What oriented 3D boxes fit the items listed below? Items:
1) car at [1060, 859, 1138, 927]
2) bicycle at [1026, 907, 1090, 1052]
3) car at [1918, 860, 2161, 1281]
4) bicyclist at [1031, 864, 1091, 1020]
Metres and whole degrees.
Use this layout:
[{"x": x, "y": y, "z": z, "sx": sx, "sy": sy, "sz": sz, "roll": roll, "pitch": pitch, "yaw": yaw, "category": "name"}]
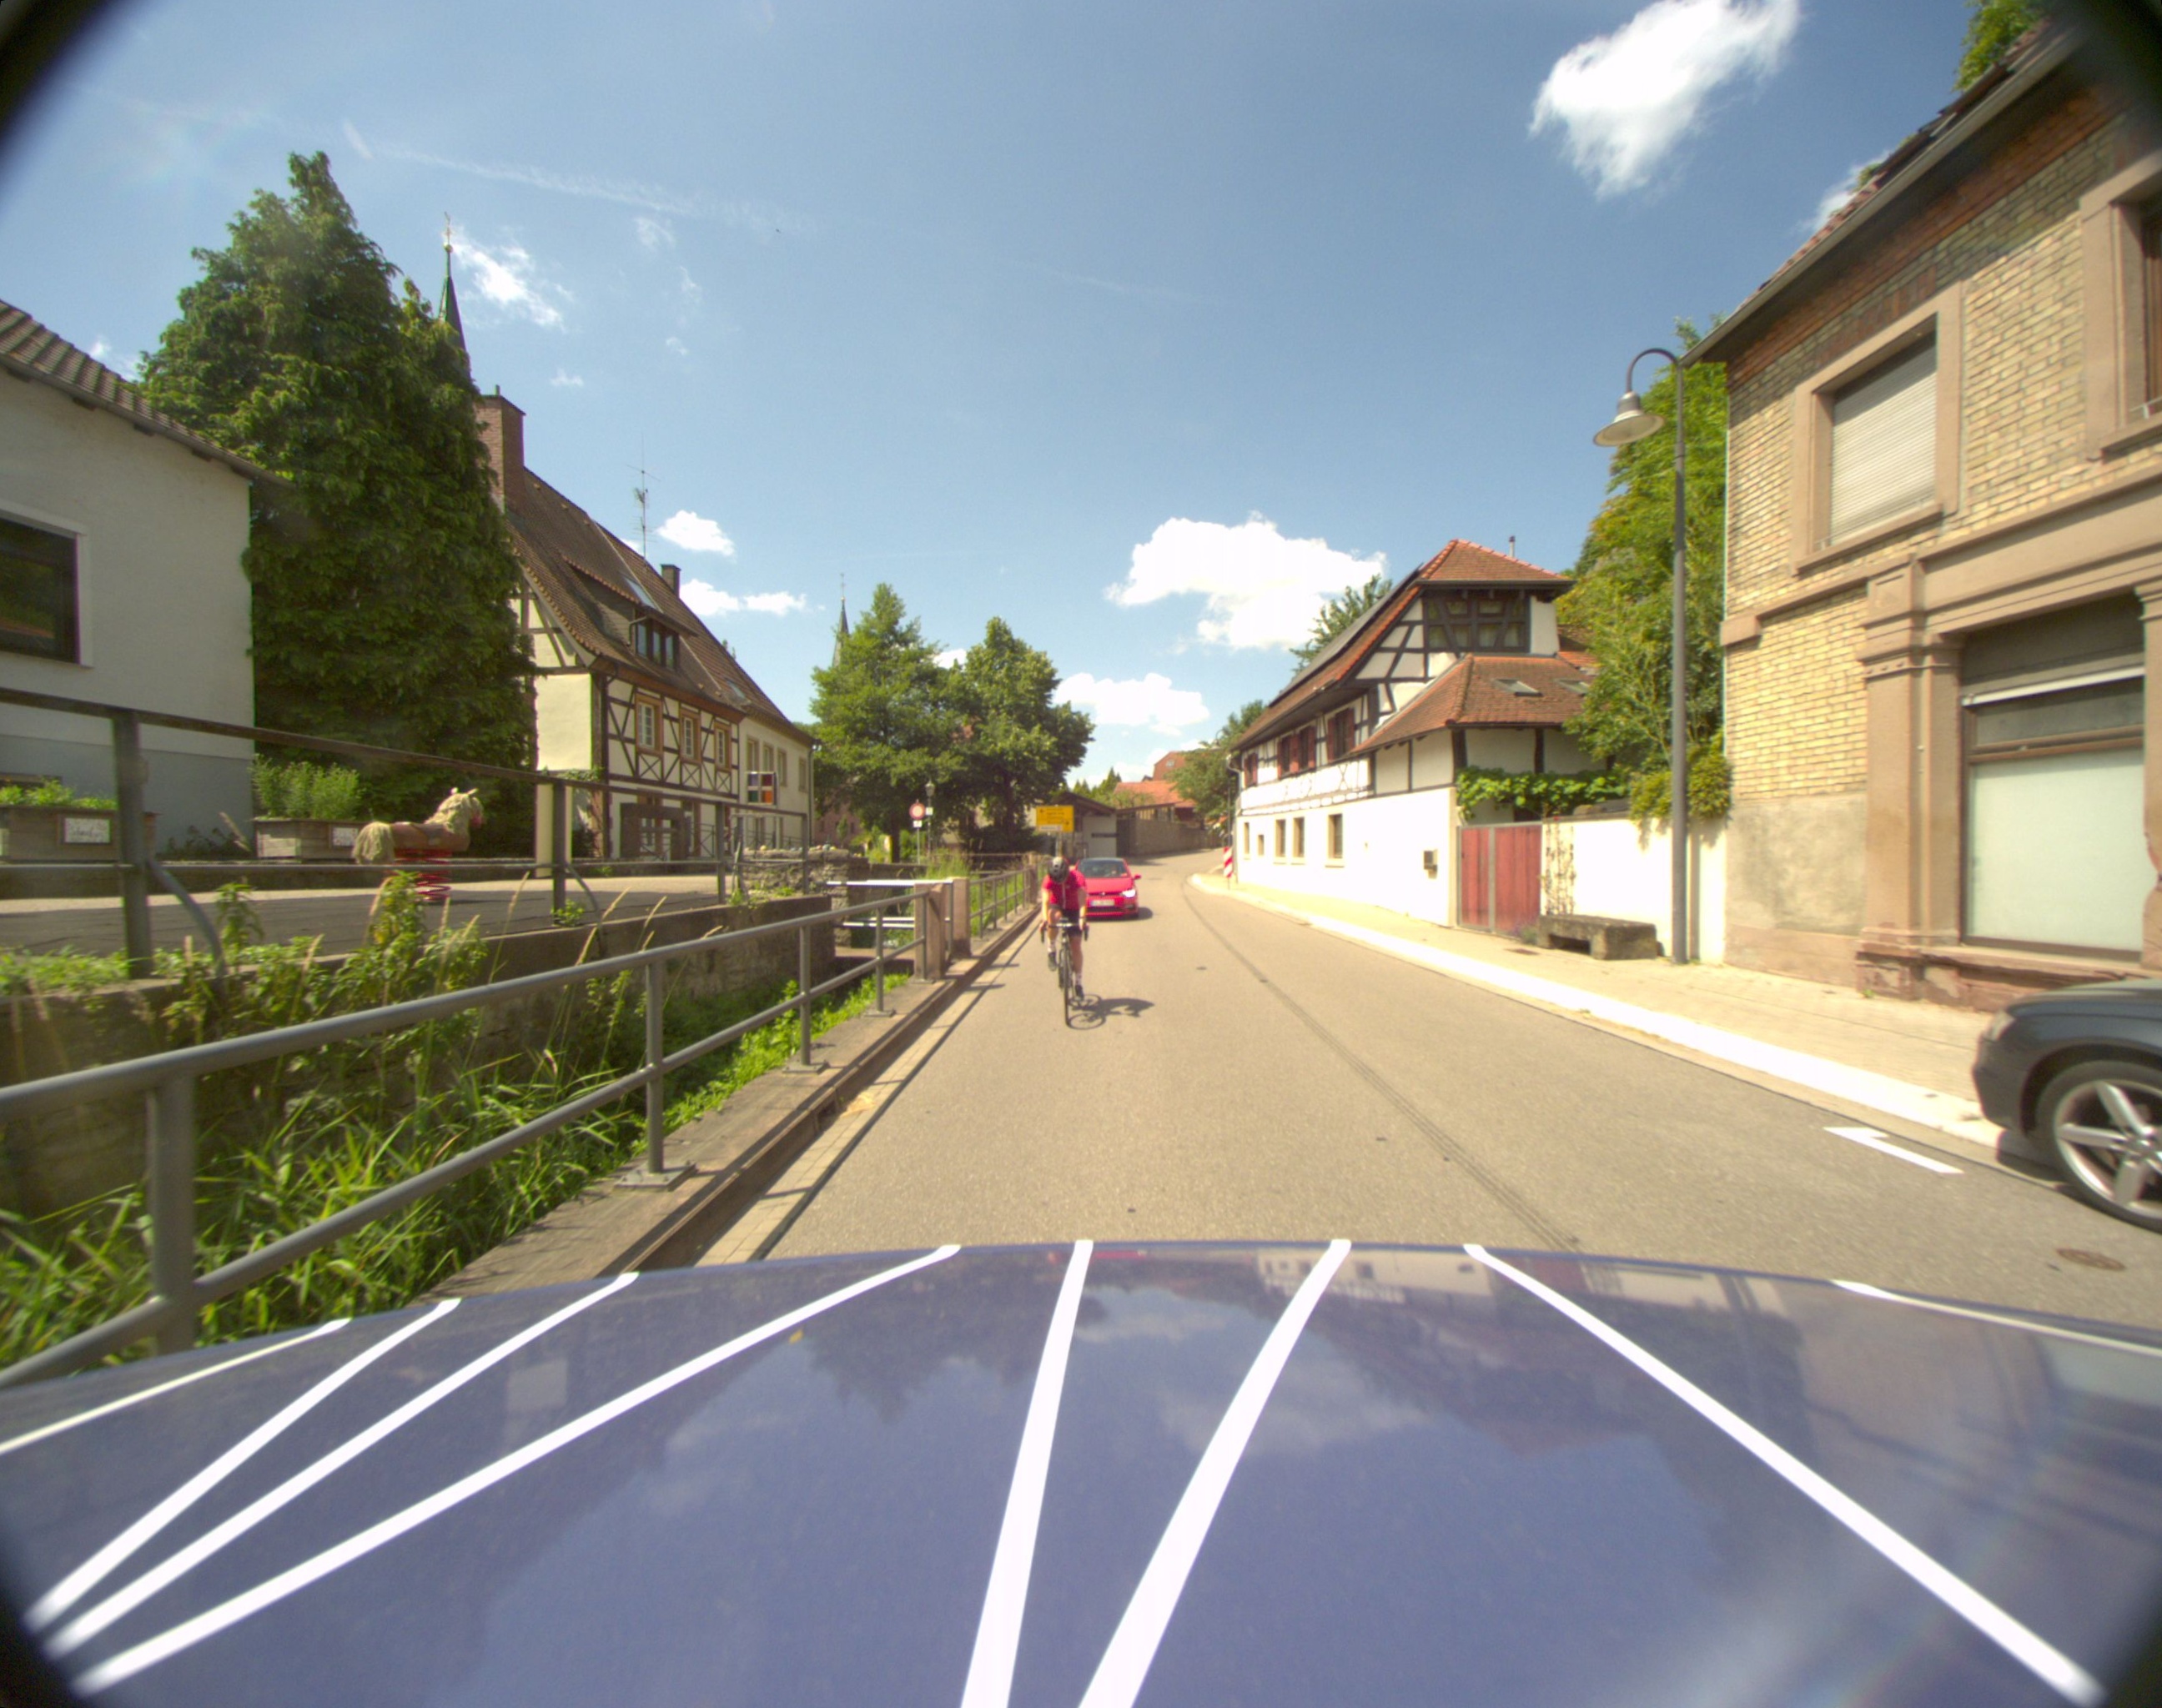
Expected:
[{"x": 0.467, "y": 0.874, "z": 18.487, "sx": 1.669, "sy": 1.344, "sz": 3.494, "roll": -2, "pitch": 1, "yaw": 2, "category": "car"}, {"x": -0.197, "y": 1.128, "z": 7.434, "sx": 0.531, "sy": 1.070, "sz": 2.054, "roll": 0, "pitch": 0, "yaw": 0, "category": "bicycle"}, {"x": 4.795, "y": 0.804, "z": 1.197, "sx": 1.961, "sy": 1.457, "sz": 4.545, "roll": -1, "pitch": 1, "yaw": 1, "category": "car"}, {"x": -0.183, "y": 0.805, "z": 7.254, "sx": 0.532, "sy": 1.396, "sz": 0.755, "roll": 0, "pitch": 1, "yaw": 0, "category": "bicyclist"}]
